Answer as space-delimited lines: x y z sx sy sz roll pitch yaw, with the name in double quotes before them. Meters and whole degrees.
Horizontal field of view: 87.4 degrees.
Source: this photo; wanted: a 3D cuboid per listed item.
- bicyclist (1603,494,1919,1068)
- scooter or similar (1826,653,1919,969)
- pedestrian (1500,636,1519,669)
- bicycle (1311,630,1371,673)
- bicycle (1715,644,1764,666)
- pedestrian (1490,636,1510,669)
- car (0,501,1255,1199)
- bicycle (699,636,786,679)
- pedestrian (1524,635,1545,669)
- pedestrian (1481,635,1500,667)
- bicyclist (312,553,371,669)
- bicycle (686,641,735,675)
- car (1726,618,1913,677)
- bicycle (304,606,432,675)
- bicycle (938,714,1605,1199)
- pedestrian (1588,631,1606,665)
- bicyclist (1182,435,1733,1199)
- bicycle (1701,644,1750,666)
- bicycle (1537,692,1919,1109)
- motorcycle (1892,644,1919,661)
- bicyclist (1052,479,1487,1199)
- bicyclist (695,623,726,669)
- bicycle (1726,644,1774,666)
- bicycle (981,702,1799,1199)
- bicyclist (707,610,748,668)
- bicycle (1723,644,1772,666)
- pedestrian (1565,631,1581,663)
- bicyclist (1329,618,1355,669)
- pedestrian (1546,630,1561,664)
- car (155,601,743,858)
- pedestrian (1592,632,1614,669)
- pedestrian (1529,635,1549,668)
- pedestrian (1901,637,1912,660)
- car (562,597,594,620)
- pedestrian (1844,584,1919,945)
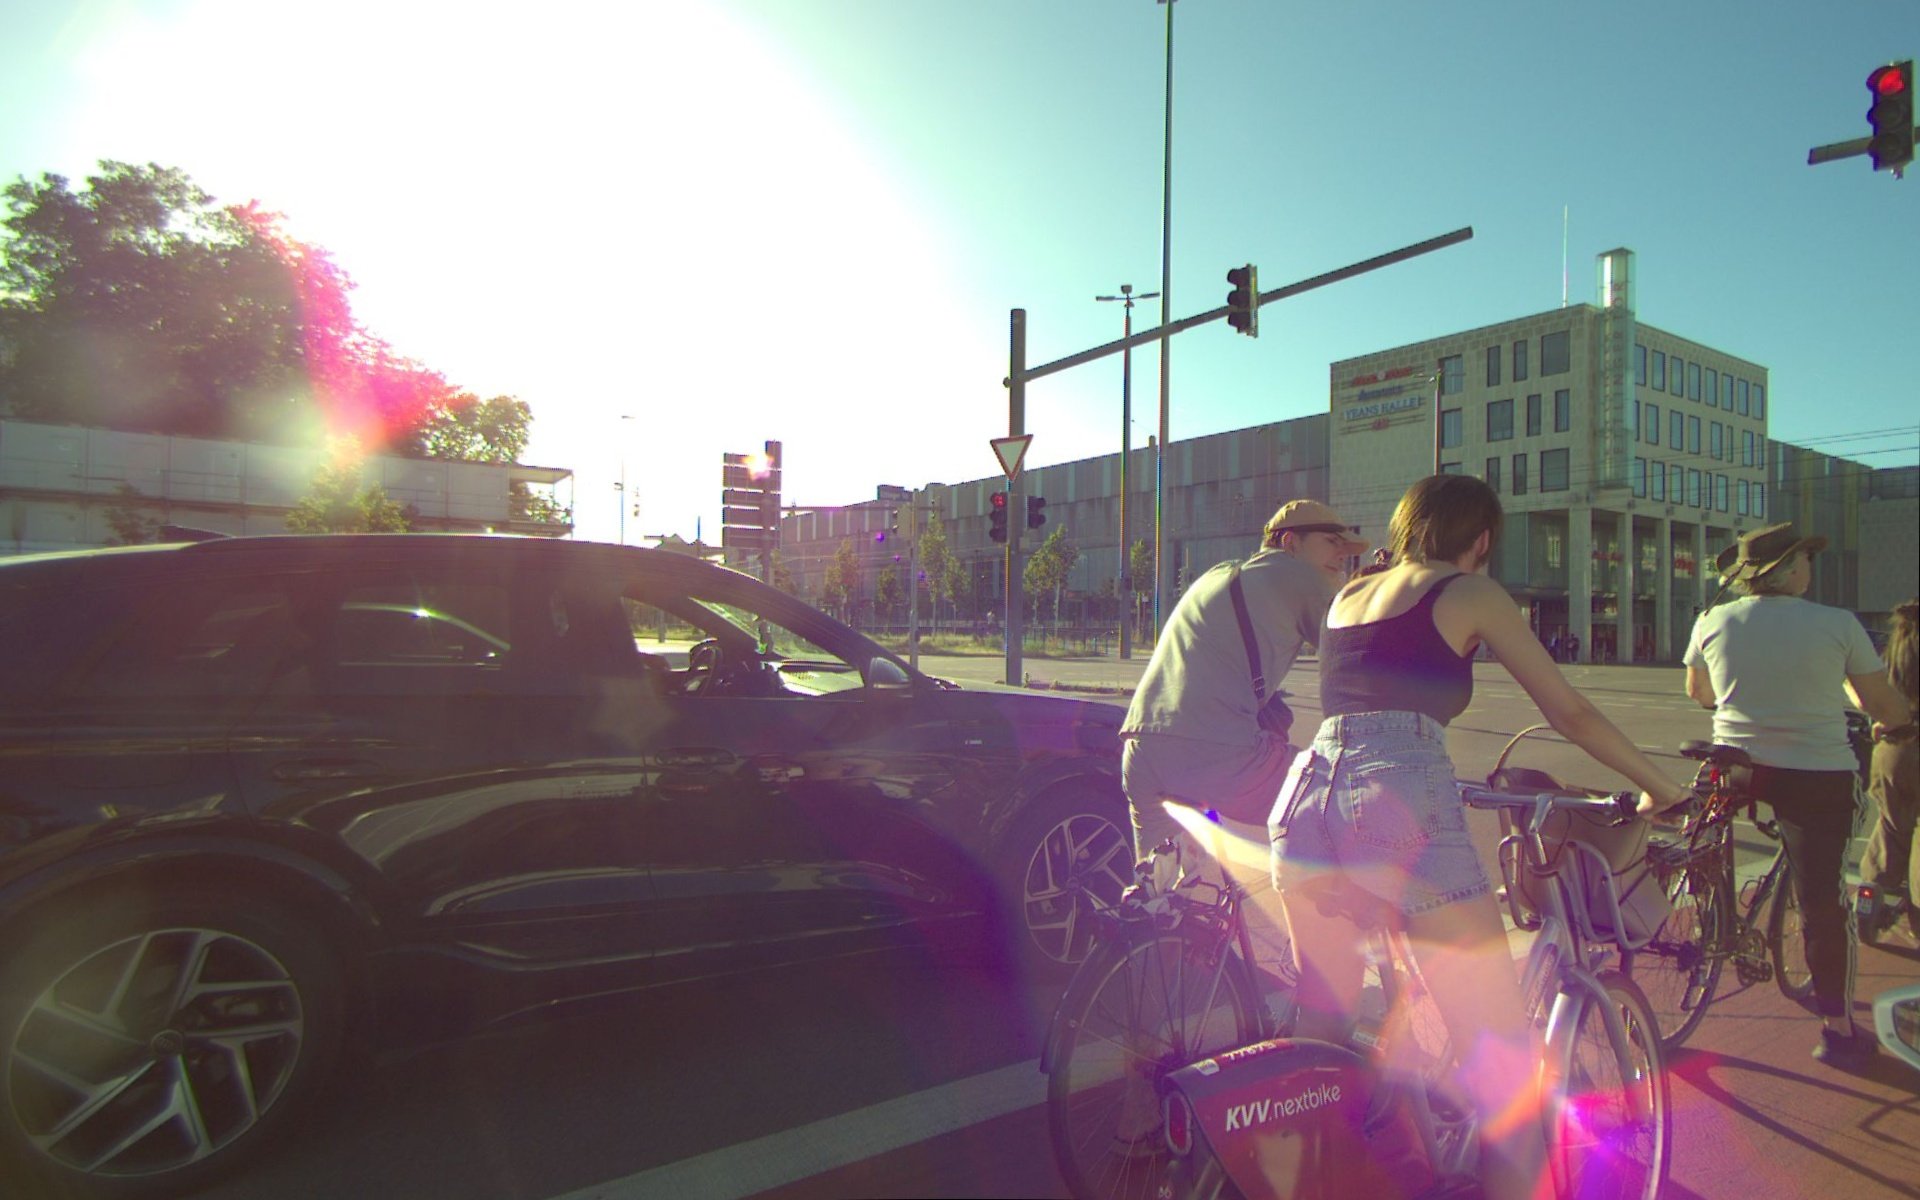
"bicyclist" 2.871 0.557 3.551 0.856 1.743 0.657 2 0 -30
"scooter or similar" 4.494 0.926 4.712 1.186 1.311 0.541 2 0 -45
"pedestrian" 33.223 3.167 60.688 0.780 1.910 0.709 2 0 -37
"bicycle" 11.342 1.523 29.895 1.618 1.170 0.497 2 0 21
"bicycle" 46.963 3.327 60.527 0.605 1.238 2.295 1 -1 -31
"pedestrian" 32.161 3.131 59.867 0.710 1.910 0.779 2 0 -36
"car" -1.152 0.633 3.868 4.630 1.656 1.760 1 0 -32
"bicycle" -7.808 2.052 36.083 2.905 1.388 0.970 2 0 16
"pedestrian" 33.396 3.008 58.375 0.710 1.910 0.779 2 0 -36
"pedestrian" 32.437 3.114 61.405 0.710 1.910 0.779 2 0 -36
"bicyclist" -17.082 0.305 27.761 1.292 3.144 0.835 2 0 -32
"bicycle" -11.574 2.651 46.514 0.962 1.388 2.930 2 0 -40
"car" 25.041 1.374 29.406 3.819 1.606 1.660 1 -1 13
"bicycle" -16.519 1.099 28.126 3.047 1.835 0.835 0 1 -32
"bicycle" 0.942 0.954 2.768 1.949 1.124 0.643 1 0 -33
"pedestrian" 35.872 2.695 56.582 0.784 1.868 0.863 0 -1 28
"bicyclist" 1.011 0.549 2.066 0.866 1.600 0.638 1 0 -33
"bicycle" 45.762 3.289 60.082 0.605 1.238 2.295 1 -1 -31
"bicycle" 2.881 0.962 3.677 1.810 1.171 0.482 2 0 -31
"motorcycle" 70.737 3.904 74.856 0.508 1.223 1.786 1 0 -44
"bicyclist" 0.805 0.560 2.671 0.833 1.627 0.712 1 0 -32
"bicyclist" -11.554 2.123 46.442 0.985 2.040 1.088 2 0 -40
"bicycle" 48.696 3.387 61.959 0.605 1.238 2.295 1 -1 -31
"bicycle" 0.963 0.889 2.041 1.811 1.234 0.612 1 0 -33
"bicyclist" -8.385 1.399 36.226 1.078 2.040 0.961 2 0 15
"bicycle" 48.046 3.364 61.338 0.605 1.238 2.295 1 -1 -31
"pedestrian" 35.629 2.731 58.423 0.784 1.868 0.862 0 -1 32
"bicyclist" 11.360 1.289 29.876 0.699 1.456 0.497 2 0 21
"pedestrian" 34.228 2.714 57.922 0.705 1.910 0.785 2 0 33
"car" -3.584 0.792 7.493 3.562 1.505 1.485 1 0 -30
"pedestrian" 37.003 2.908 57.808 0.767 2.040 0.876 2 0 -41
"pedestrian" 34.406 3.046 59.688 0.710 1.910 0.779 2 0 -36
"pedestrian" 71.096 3.668 75.456 0.579 1.702 0.516 1 1 -43
"car" -32.939 0.737 86.508 1.785 1.908 3.964 2 0 -33
"pedestrian" 4.635 0.763 4.804 0.568 1.654 0.543 2 0 -45
